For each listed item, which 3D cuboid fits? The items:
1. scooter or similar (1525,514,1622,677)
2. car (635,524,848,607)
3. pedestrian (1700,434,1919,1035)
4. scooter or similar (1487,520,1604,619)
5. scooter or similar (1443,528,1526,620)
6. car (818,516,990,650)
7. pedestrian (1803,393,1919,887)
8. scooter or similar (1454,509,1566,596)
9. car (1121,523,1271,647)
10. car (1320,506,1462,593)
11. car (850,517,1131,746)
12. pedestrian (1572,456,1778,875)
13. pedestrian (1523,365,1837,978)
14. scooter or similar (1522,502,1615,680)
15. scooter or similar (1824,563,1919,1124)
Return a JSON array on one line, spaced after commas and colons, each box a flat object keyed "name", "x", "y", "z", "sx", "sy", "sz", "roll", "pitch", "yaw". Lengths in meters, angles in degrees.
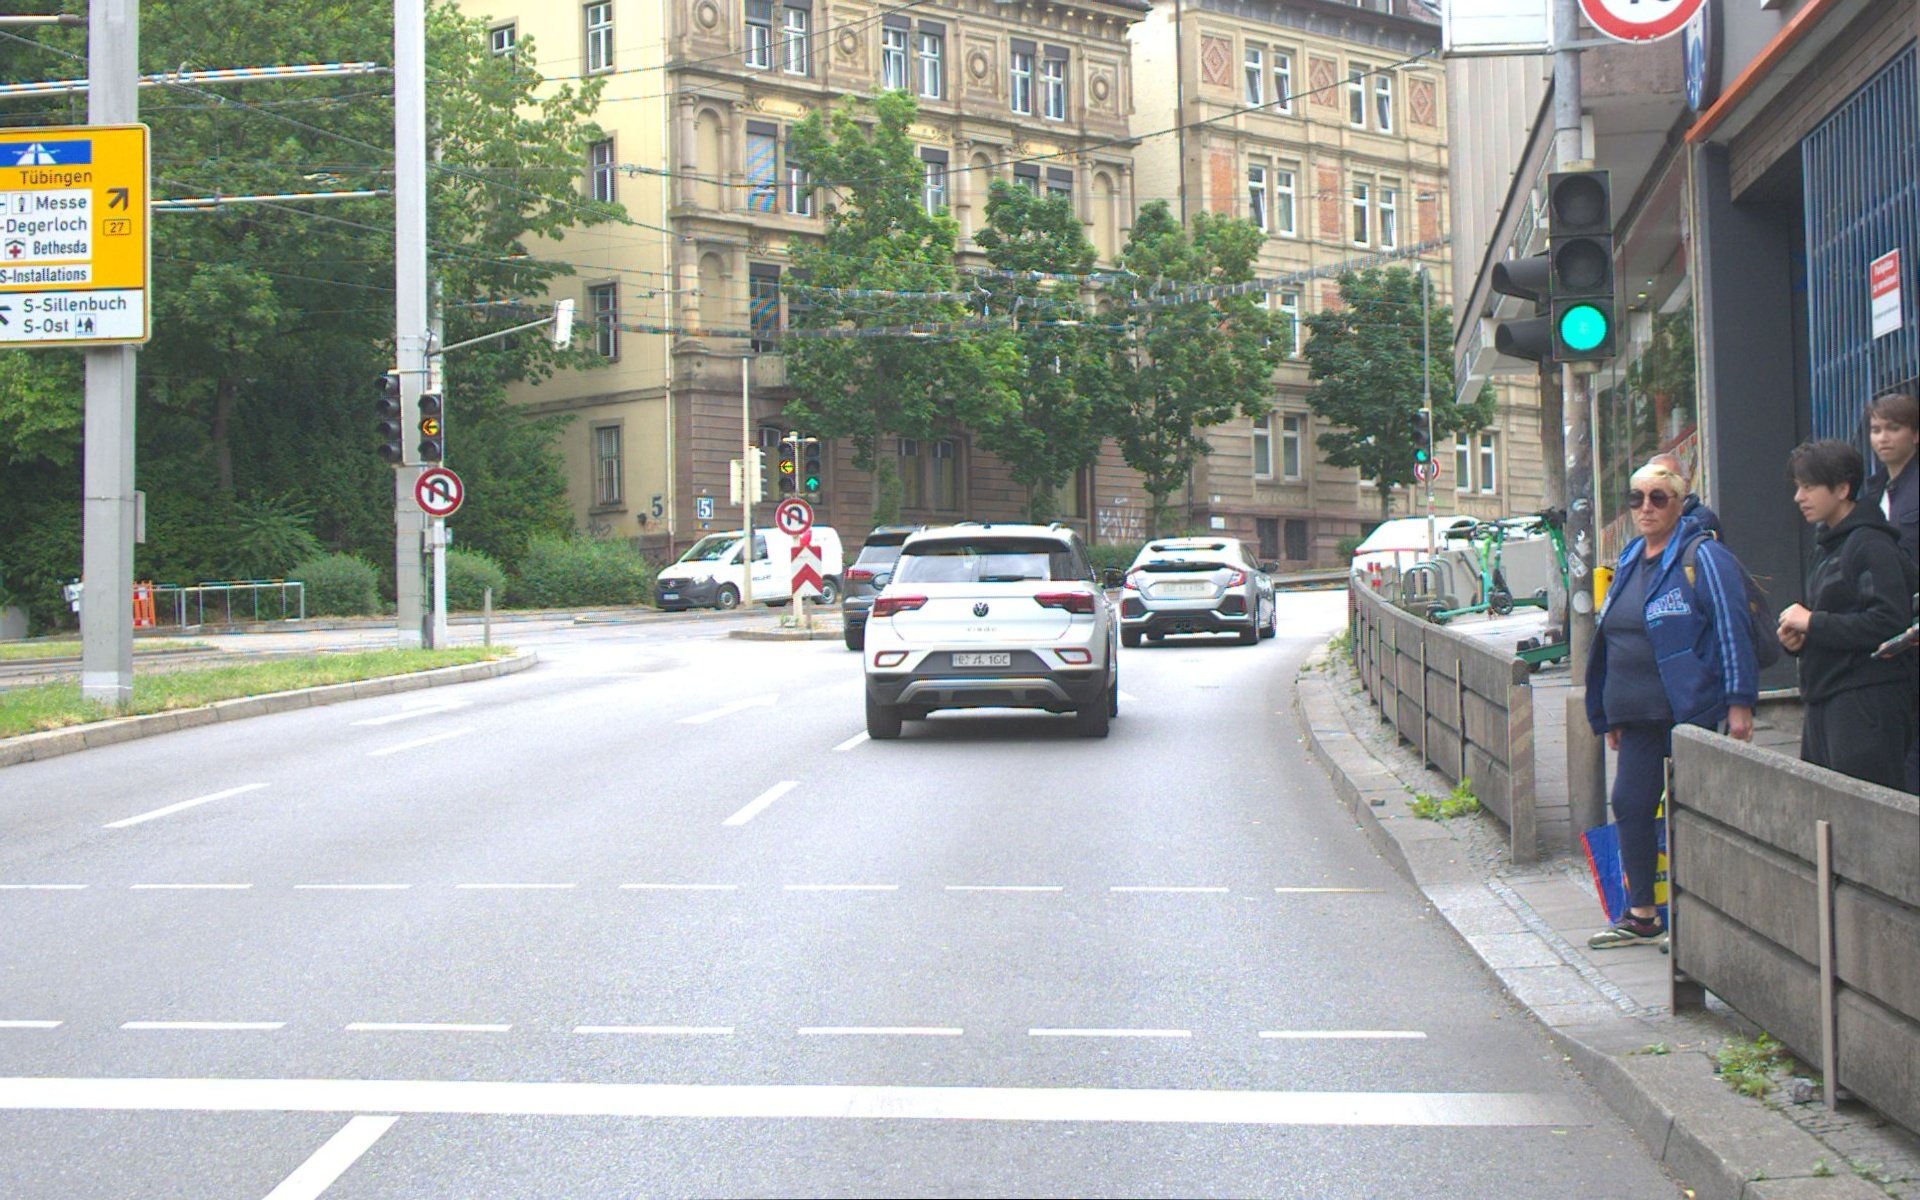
[{"name": "scooter or similar", "x": 4.833, "y": -0.043, "z": 27.147, "sx": 0.631, "sy": 1.245, "sz": 1.333, "roll": -1, "pitch": 1, "yaw": 6}, {"name": "car", "x": -5.007, "y": -0.803, "z": 79.431, "sx": 1.998, "sy": 1.843, "sz": 4.981, "roll": 1, "pitch": 1, "yaw": 41}, {"name": "pedestrian", "x": 2.706, "y": 0.397, "z": 10.570, "sx": 0.738, "sy": 1.787, "sz": 0.655, "roll": 0, "pitch": 0, "yaw": 3}, {"name": "scooter or similar", "x": 7.927, "y": -0.415, "z": 46.547, "sx": 1.441, "sy": 1.250, "sz": 0.557, "roll": -3, "pitch": 1, "yaw": -25}, {"name": "scooter or similar", "x": 6.896, "y": -0.346, "z": 45.200, "sx": 1.007, "sy": 1.178, "sz": 0.377, "roll": -2, "pitch": 1, "yaw": -25}, {"name": "car", "x": -0.715, "y": -0.255, "z": 46.745, "sx": 1.840, "sy": 1.734, "sz": 3.999, "roll": 0, "pitch": 1, "yaw": 7}, {"name": "pedestrian", "x": 3.595, "y": 0.144, "z": 12.881, "sx": 0.727, "sy": 1.802, "sz": 0.654, "roll": 0, "pitch": 0, "yaw": 3}, {"name": "scooter or similar", "x": 7.713, "y": -0.666, "z": 48.187, "sx": 1.440, "sy": 1.178, "sz": 0.583, "roll": -2, "pitch": 1, "yaw": -25}, {"name": "car", "x": 3.126, "y": -0.204, "z": 45.959, "sx": 1.903, "sy": 1.568, "sz": 3.834, "roll": 0, "pitch": 0, "yaw": 3}, {"name": "car", "x": 7.755, "y": -0.891, "z": 61.619, "sx": 1.939, "sy": 1.501, "sz": 3.803, "roll": 0, "pitch": 1, "yaw": 17}, {"name": "car", "x": 0.283, "y": 0.199, "z": 26.154, "sx": 1.938, "sy": 1.561, "sz": 4.046, "roll": -1, "pitch": 1, "yaw": 2}, {"name": "pedestrian", "x": 2.958, "y": 0.262, "z": 14.269, "sx": 0.562, "sy": 1.646, "sz": 0.591, "roll": -7, "pitch": 0, "yaw": 2}, {"name": "pedestrian", "x": 2.481, "y": 0.234, "z": 11.939, "sx": 0.946, "sy": 2.055, "sz": 0.778, "roll": 0, "pitch": 0, "yaw": 3}, {"name": "scooter or similar", "x": 5.185, "y": -0.085, "z": 29.338, "sx": 0.668, "sy": 1.470, "sz": 1.178, "roll": -1, "pitch": 1, "yaw": 6}, {"name": "scooter or similar", "x": 2.348, "y": 0.550, "z": 8.230, "sx": 0.354, "sy": 1.271, "sz": 0.813, "roll": -1, "pitch": 1, "yaw": 1}]
